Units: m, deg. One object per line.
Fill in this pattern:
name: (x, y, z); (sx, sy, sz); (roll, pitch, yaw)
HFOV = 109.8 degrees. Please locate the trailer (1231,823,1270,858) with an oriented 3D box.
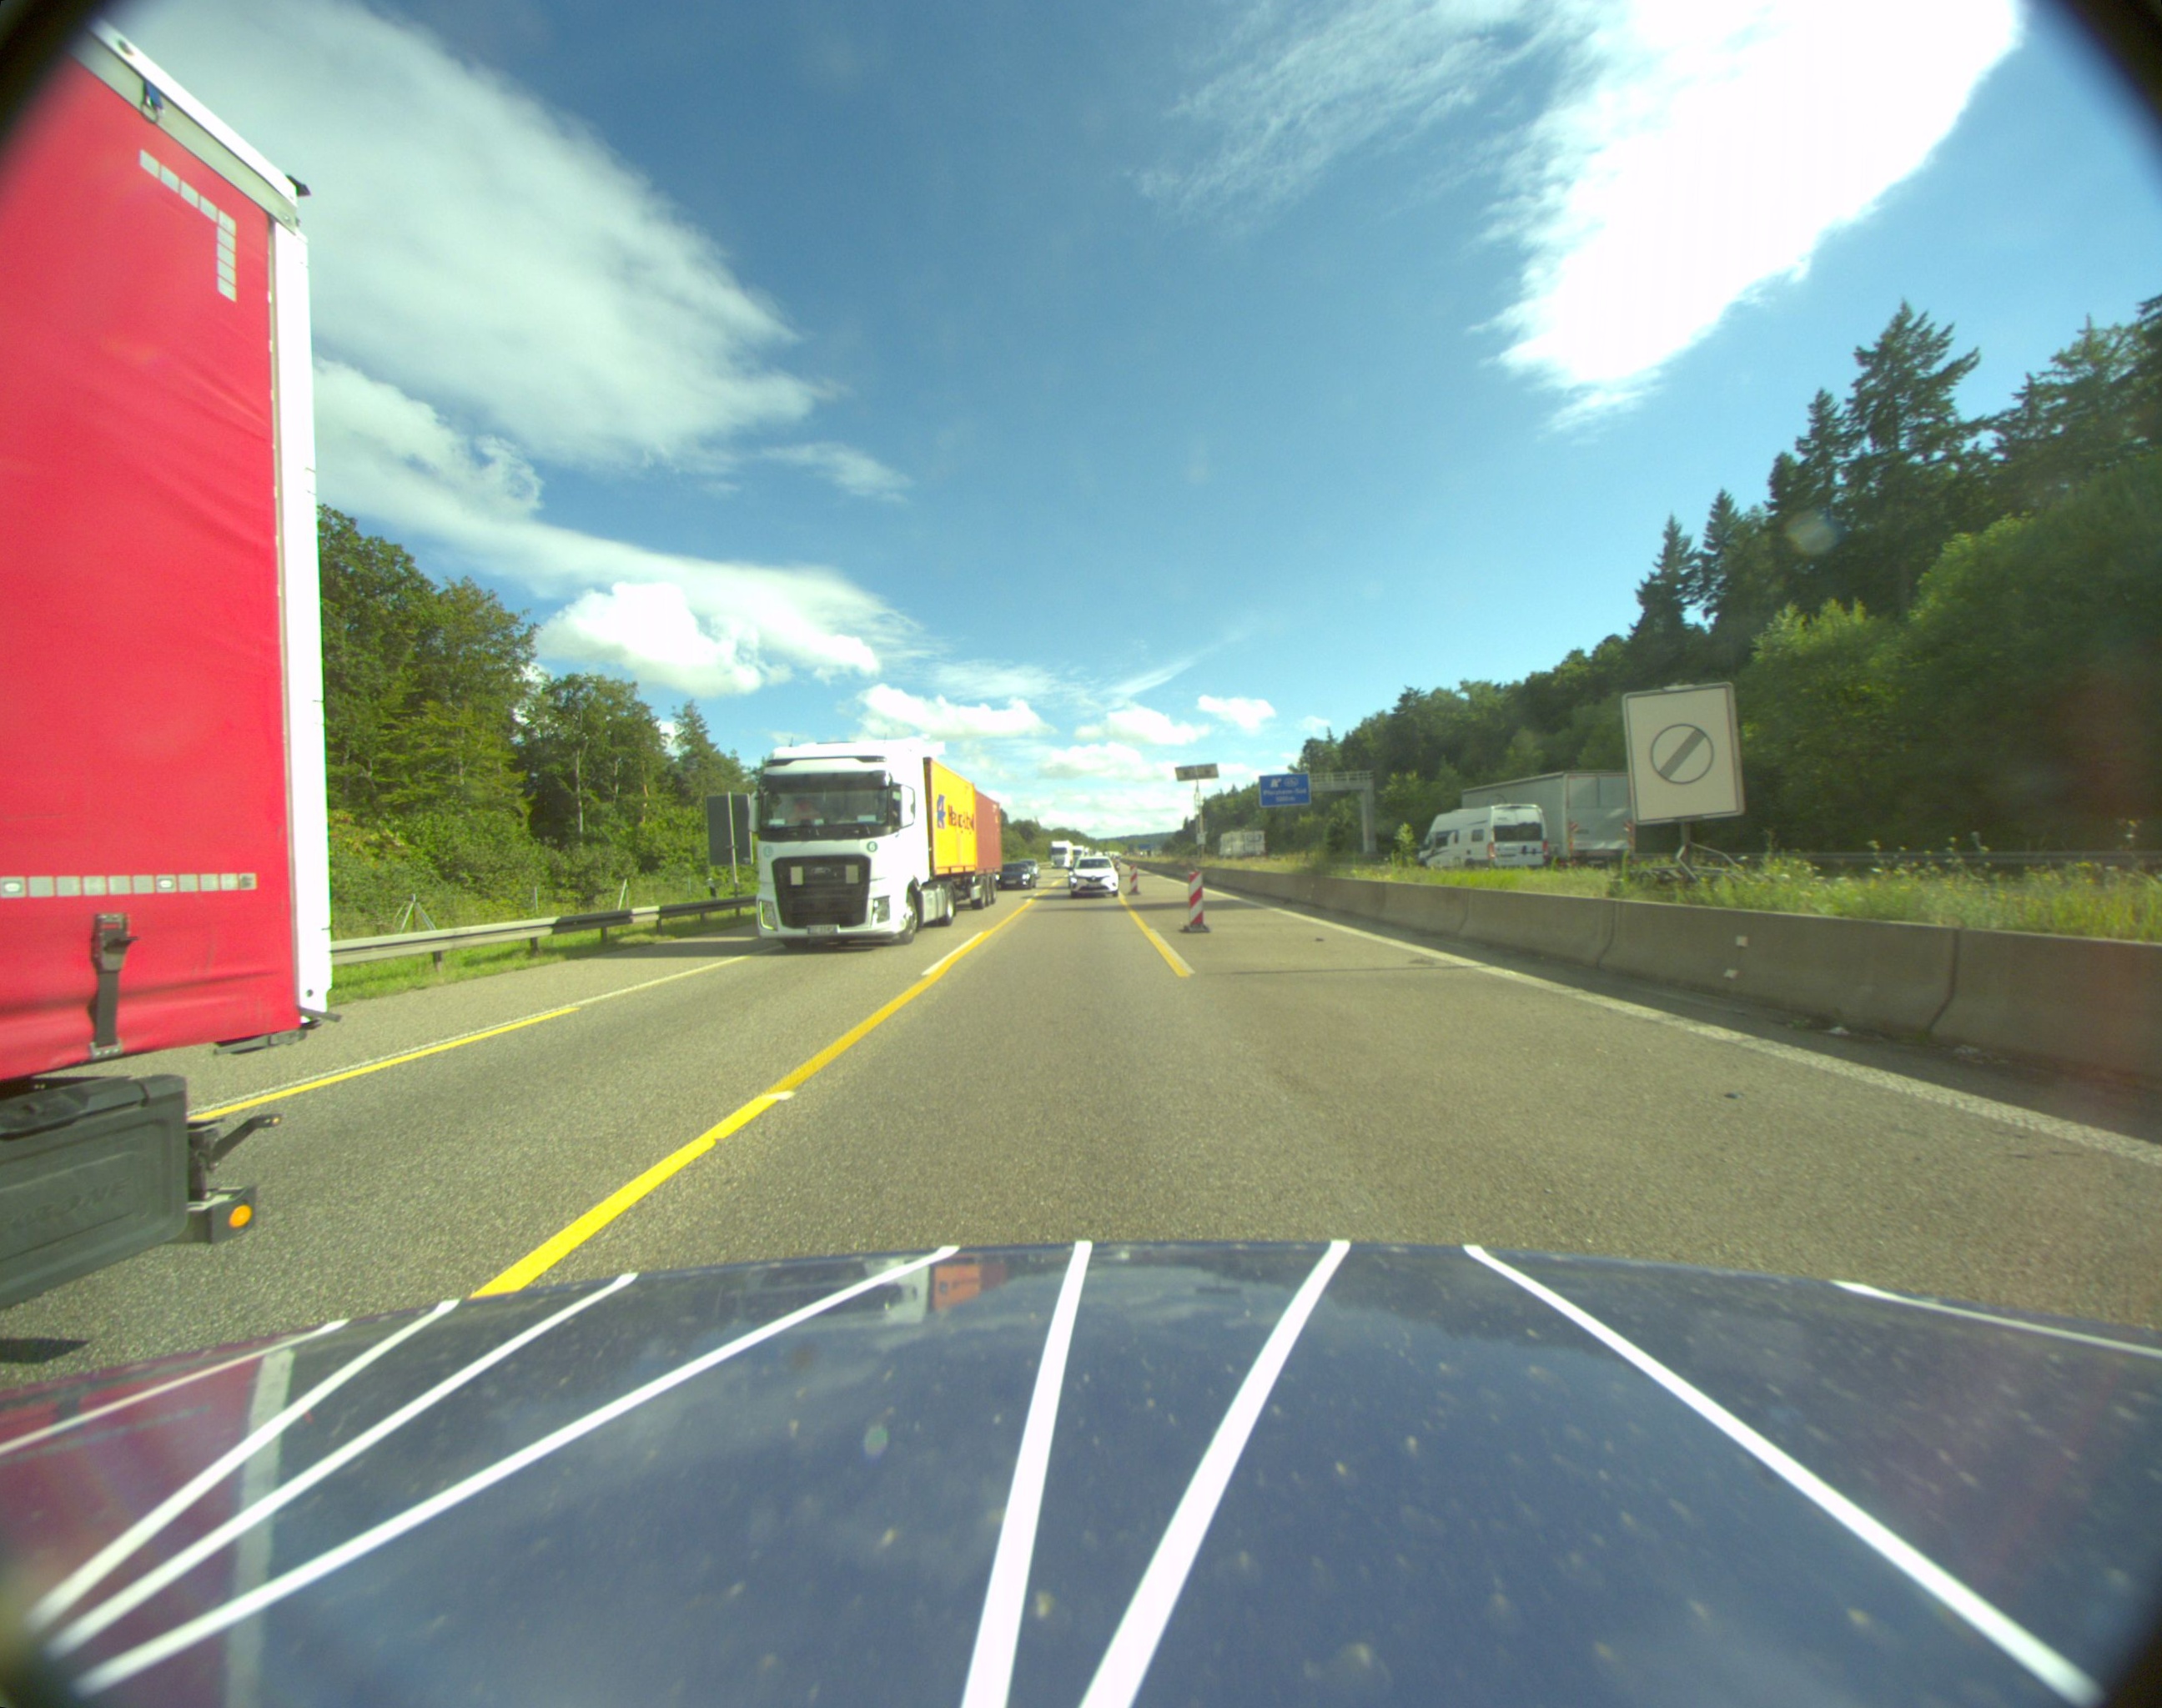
trailer: (20.610, -1.621, 92.944); (2.797, 3.900, 8.487); (-2, 1, 1)

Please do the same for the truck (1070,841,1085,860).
truck: (-0.693, -0.756, 167.044); (2.640, 4.092, 8.197); (-2, 0, 3)

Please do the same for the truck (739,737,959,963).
truck: (-4.404, -0.084, 15.797); (2.501, 3.759, 5.790); (-2, 1, 2)

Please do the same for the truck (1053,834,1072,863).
truck: (-2.698, -0.768, 115.074); (2.641, 4.092, 8.194); (-2, 0, -1)

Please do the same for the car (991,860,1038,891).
car: (-3.363, 1.064, 39.480); (1.933, 1.342, 4.477); (-2, 1, 1)

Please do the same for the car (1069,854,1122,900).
car: (0.513, 0.843, 29.455); (1.840, 1.528, 3.882); (-2, 1, -1)

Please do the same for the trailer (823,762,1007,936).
trailer: (-4.256, -0.128, 22.880); (2.477, 3.753, 12.136); (-2, 0, 1)

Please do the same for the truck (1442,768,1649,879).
truck: (19.532, -1.142, 33.054); (2.807, 3.969, 10.185); (-2, 0, 1)

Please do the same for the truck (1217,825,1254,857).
truck: (20.694, -1.766, 102.616); (2.789, 3.962, 10.861); (-2, 1, 1)

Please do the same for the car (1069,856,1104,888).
car: (0.304, 0.901, 39.793); (1.692, 1.471, 3.754); (-2, 1, 1)

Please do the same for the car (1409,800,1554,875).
car: (14.875, -0.571, 28.782); (2.165, 2.437, 6.331); (-2, 0, 1)

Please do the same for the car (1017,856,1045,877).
car: (-3.828, 0.954, 58.526); (1.762, 1.471, 3.967); (-2, 1, 1)
